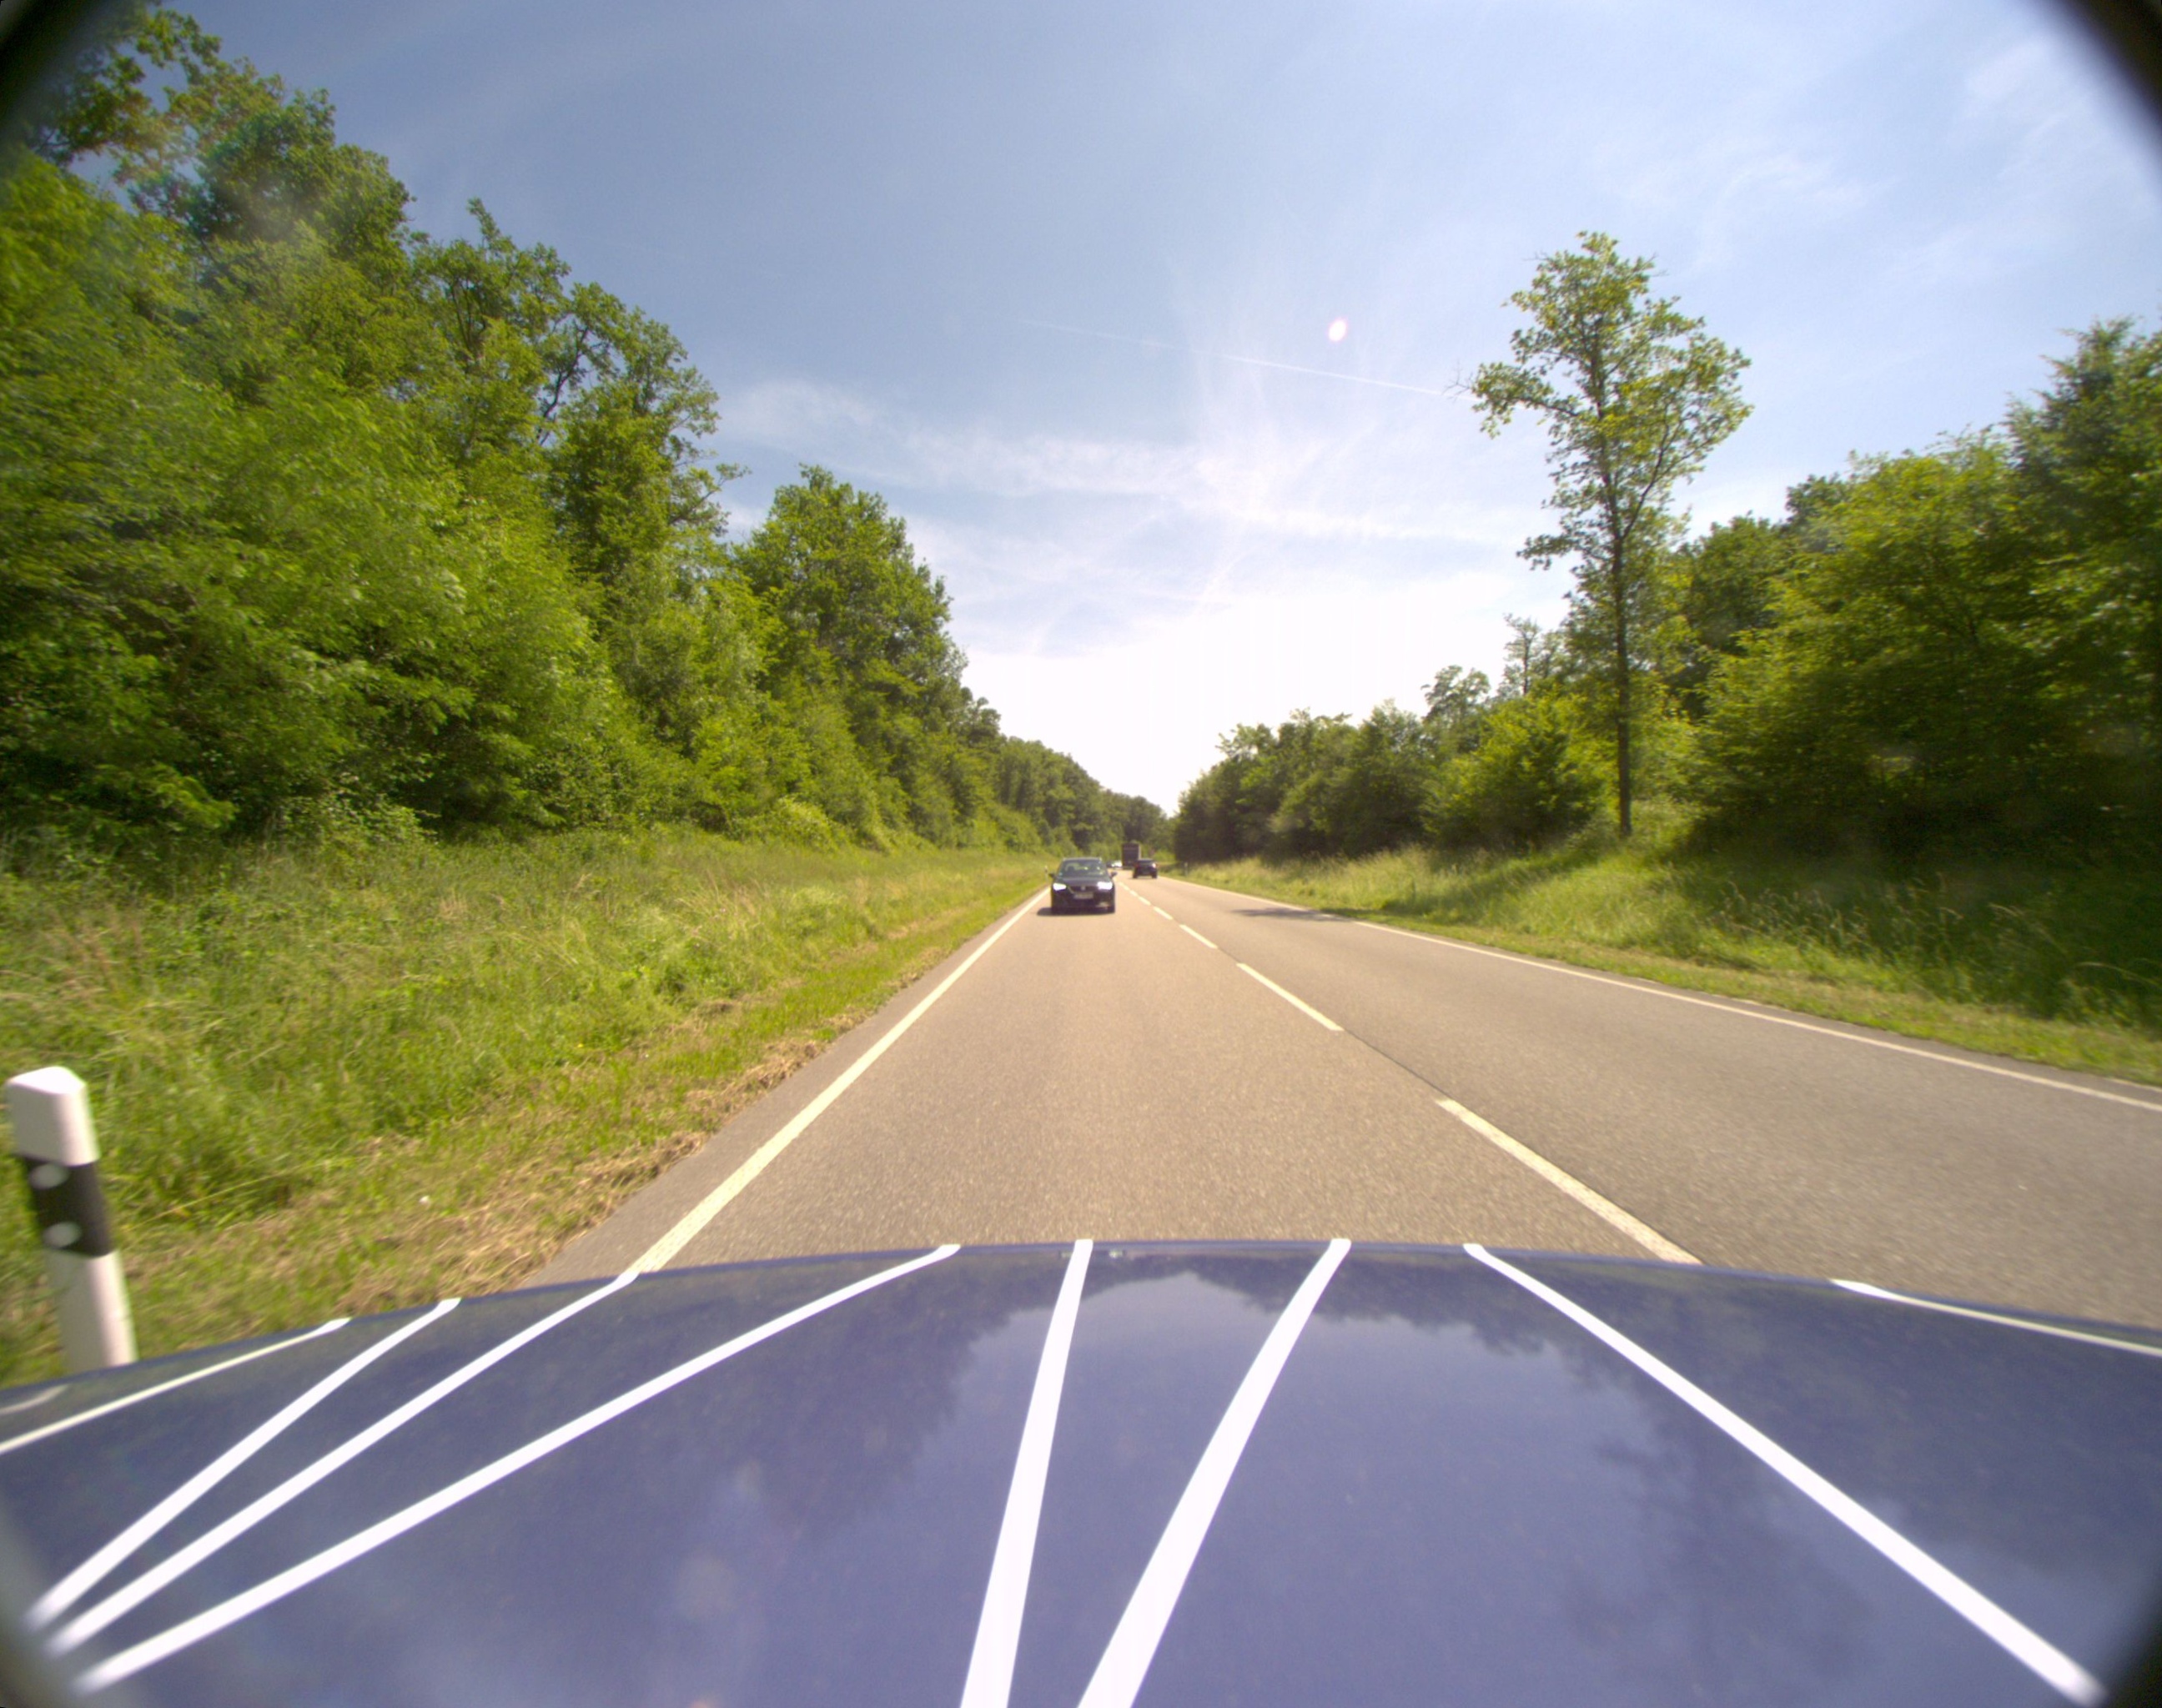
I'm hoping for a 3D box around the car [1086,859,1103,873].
[{"bbox_3d":[1.549,1.287,83.855,1.776,1.454,3.949,0,0,2],"label":"car"}]

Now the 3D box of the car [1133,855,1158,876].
[{"bbox_3d":[4.852,0.856,57.343,1.664,1.486,3.805,-1,0,2],"label":"car"}]

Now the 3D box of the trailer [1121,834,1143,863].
[{"bbox_3d":[7.969,-0.782,119.612,2.949,4.228,13.621,-1,0,2],"label":"trailer"}]

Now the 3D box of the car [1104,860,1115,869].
[{"bbox_3d":[4.886,1.728,129.786,1.776,1.454,4.001,0,0,2],"label":"car"}]

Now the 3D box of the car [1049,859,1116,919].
[{"bbox_3d":[0.072,0.925,21.914,1.713,1.516,4.242,-1,0,1],"label":"car"}]
